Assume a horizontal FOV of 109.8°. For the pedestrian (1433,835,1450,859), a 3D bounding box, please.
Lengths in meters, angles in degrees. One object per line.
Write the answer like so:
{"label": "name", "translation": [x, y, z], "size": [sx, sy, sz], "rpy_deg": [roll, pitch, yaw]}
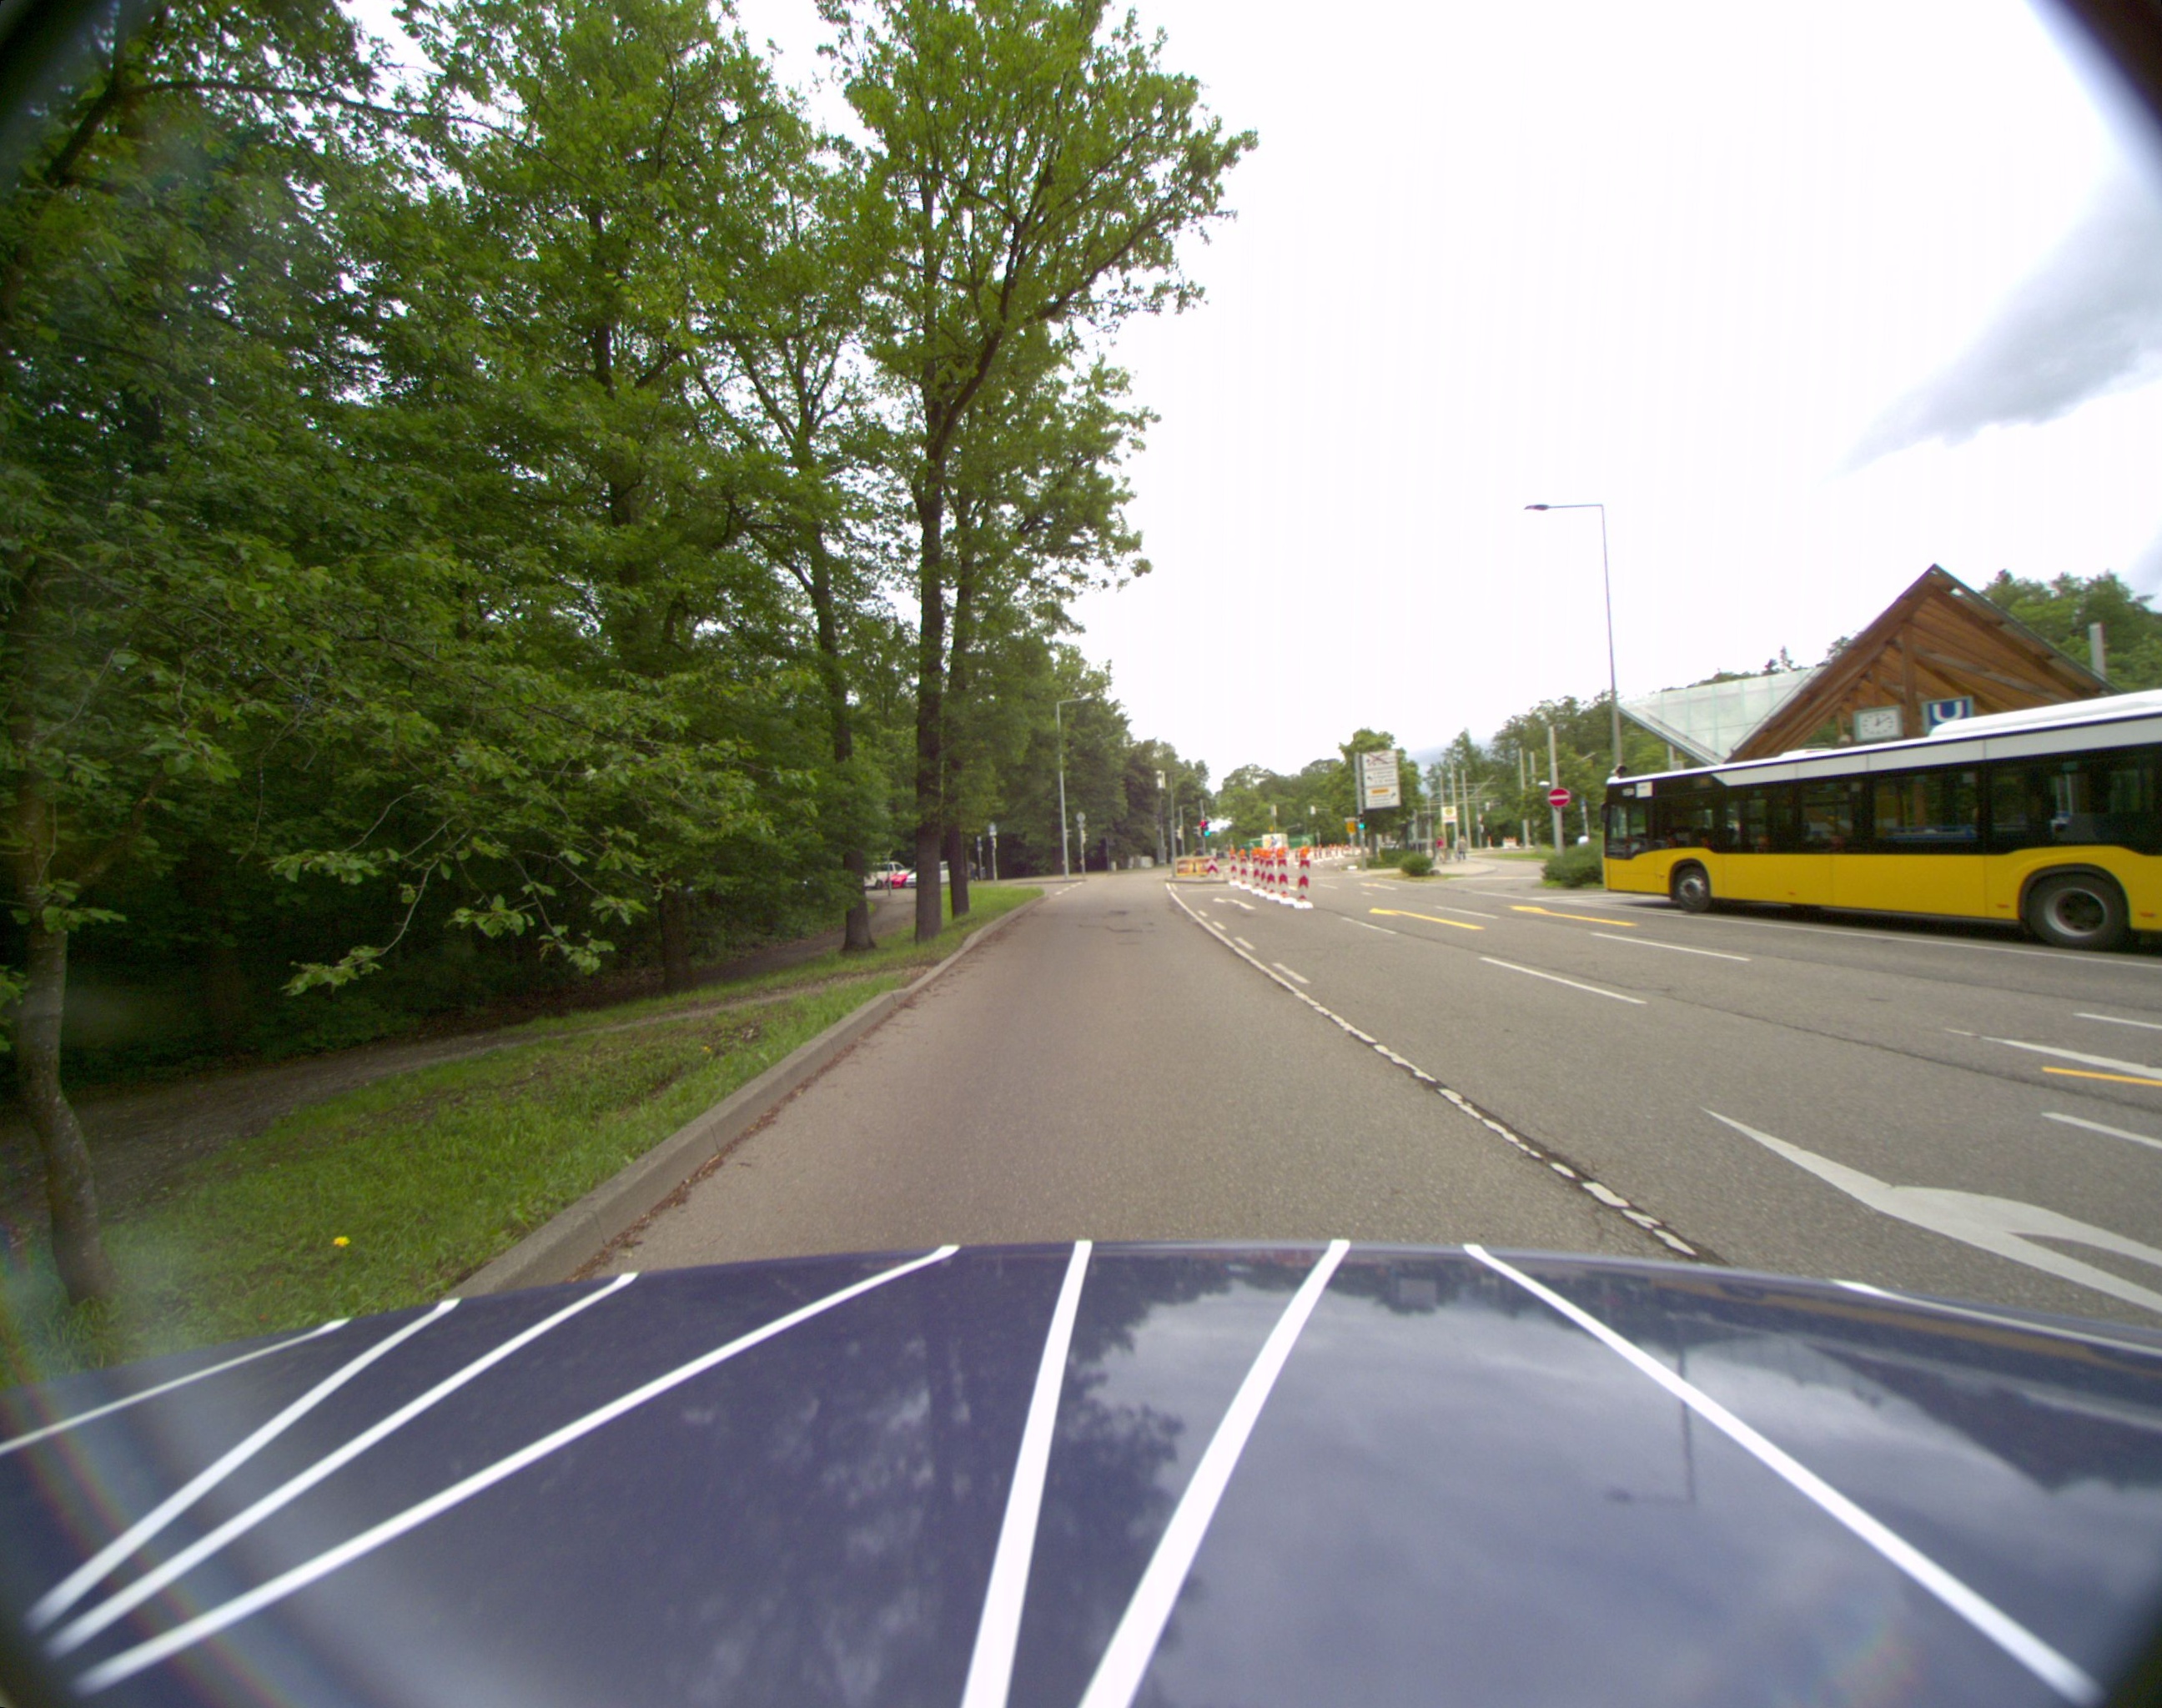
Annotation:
{"label": "pedestrian", "translation": [24.055, -0.490, 50.737], "size": [0.791, 1.542, 0.776], "rpy_deg": [-4, 0, 12]}

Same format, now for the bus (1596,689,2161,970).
{"label": "bus", "translation": [13.485, -0.345, 12.916], "size": [2.906, 3.109, 9.759], "rpy_deg": [-2, 0, 1]}

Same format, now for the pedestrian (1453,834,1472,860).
{"label": "pedestrian", "translation": [22.476, -0.413, 44.786], "size": [0.874, 1.516, 0.769], "rpy_deg": [-4, 0, 22]}

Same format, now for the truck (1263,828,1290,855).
{"label": "truck", "translation": [24.991, -1.585, 96.907], "size": [2.631, 3.219, 6.215], "rpy_deg": [-1, 1, 20]}

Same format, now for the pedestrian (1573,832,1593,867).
{"label": "pedestrian", "translation": [22.718, -0.204, 34.389], "size": [0.637, 1.495, 0.632], "rpy_deg": [-4, 0, 29]}

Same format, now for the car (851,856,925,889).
{"label": "car", "translation": [-14.173, 1.350, 56.064], "size": [2.058, 1.946, 5.191], "rpy_deg": [-4, 1, 32]}

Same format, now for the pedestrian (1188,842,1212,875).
{"label": "pedestrian", "translation": [6.700, 0.245, 42.758], "size": [0.996, 1.798, 0.765], "rpy_deg": [-4, 0, -32]}

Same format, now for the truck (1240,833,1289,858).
{"label": "truck", "translation": [32.797, -1.449, 136.104], "size": [3.792, 3.858, 8.757], "rpy_deg": [-4, 0, -23]}

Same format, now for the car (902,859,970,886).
{"label": "car", "translation": [-10.045, 1.268, 53.019], "size": [1.995, 1.543, 4.429], "rpy_deg": [-4, -1, 35]}

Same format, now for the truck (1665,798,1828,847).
{"label": "truck", "translation": [36.707, -1.657, 42.227], "size": [2.609, 2.157, 6.295], "rpy_deg": [-4, 0, -17]}

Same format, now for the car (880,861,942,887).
{"label": "car", "translation": [-12.120, 1.392, 54.403], "size": [1.890, 1.543, 4.007], "rpy_deg": [-4, 0, 35]}

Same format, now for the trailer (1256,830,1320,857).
{"label": "trailer", "translation": [35.270, -1.732, 130.097], "size": [3.792, 3.858, 11.849], "rpy_deg": [-4, 0, -23]}

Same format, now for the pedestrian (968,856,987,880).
{"label": "pedestrian", "translation": [-7.528, 1.004, 55.161], "size": [1.094, 1.666, 0.909], "rpy_deg": [-3, 1, -18]}
